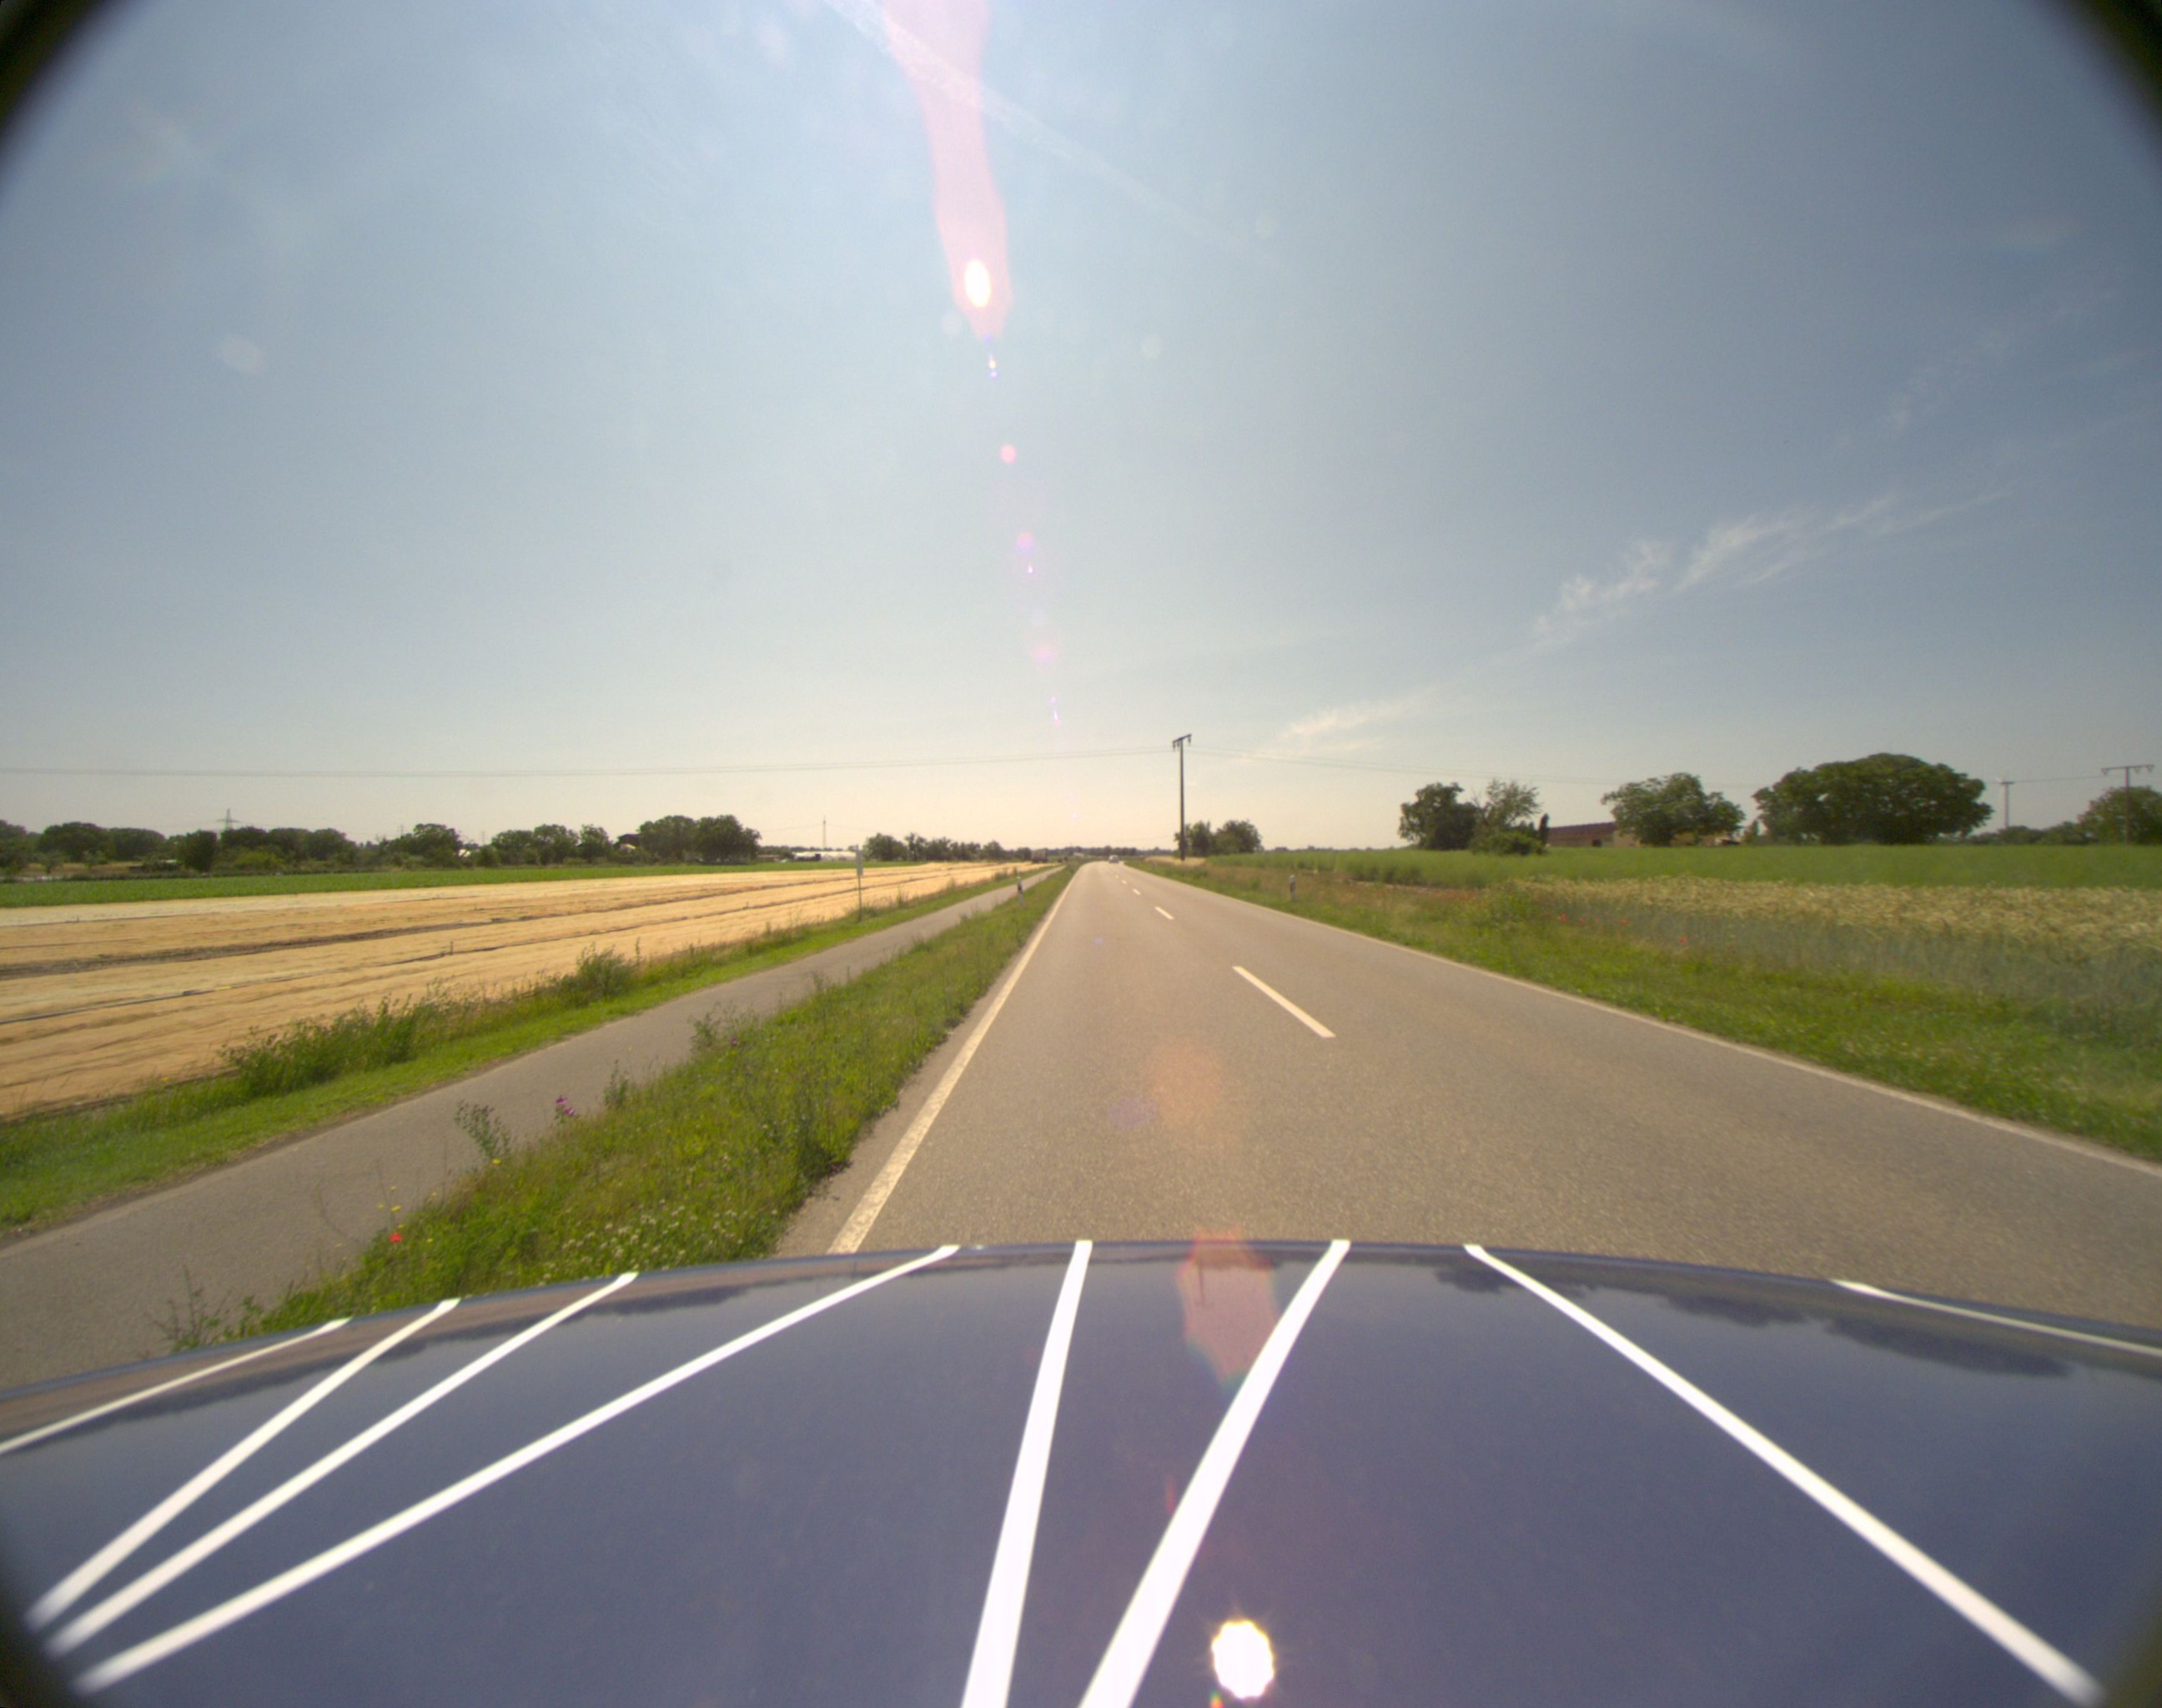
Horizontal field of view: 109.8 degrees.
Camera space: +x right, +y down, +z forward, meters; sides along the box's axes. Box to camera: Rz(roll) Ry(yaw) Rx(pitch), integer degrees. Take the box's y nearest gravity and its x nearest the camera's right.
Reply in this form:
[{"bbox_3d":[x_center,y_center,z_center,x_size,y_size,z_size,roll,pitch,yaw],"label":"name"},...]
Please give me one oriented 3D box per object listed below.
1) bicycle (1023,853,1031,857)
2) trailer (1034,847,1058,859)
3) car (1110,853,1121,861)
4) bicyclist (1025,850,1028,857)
[{"bbox_3d":[-13.943,0.160,194.894,1.920,0.986,0.683,-1,1,19],"label":"bicycle"},{"bbox_3d":[-8.401,-0.306,183.182,5.283,2.936,2.002,0,2,21],"label":"trailer"},{"bbox_3d":[6.513,0.606,143.229,1.796,1.401,4.185,0,1,1],"label":"car"},{"bbox_3d":[-14.016,-0.228,194.910,0.700,1.747,0.663,-1,1,19],"label":"bicyclist"}]
